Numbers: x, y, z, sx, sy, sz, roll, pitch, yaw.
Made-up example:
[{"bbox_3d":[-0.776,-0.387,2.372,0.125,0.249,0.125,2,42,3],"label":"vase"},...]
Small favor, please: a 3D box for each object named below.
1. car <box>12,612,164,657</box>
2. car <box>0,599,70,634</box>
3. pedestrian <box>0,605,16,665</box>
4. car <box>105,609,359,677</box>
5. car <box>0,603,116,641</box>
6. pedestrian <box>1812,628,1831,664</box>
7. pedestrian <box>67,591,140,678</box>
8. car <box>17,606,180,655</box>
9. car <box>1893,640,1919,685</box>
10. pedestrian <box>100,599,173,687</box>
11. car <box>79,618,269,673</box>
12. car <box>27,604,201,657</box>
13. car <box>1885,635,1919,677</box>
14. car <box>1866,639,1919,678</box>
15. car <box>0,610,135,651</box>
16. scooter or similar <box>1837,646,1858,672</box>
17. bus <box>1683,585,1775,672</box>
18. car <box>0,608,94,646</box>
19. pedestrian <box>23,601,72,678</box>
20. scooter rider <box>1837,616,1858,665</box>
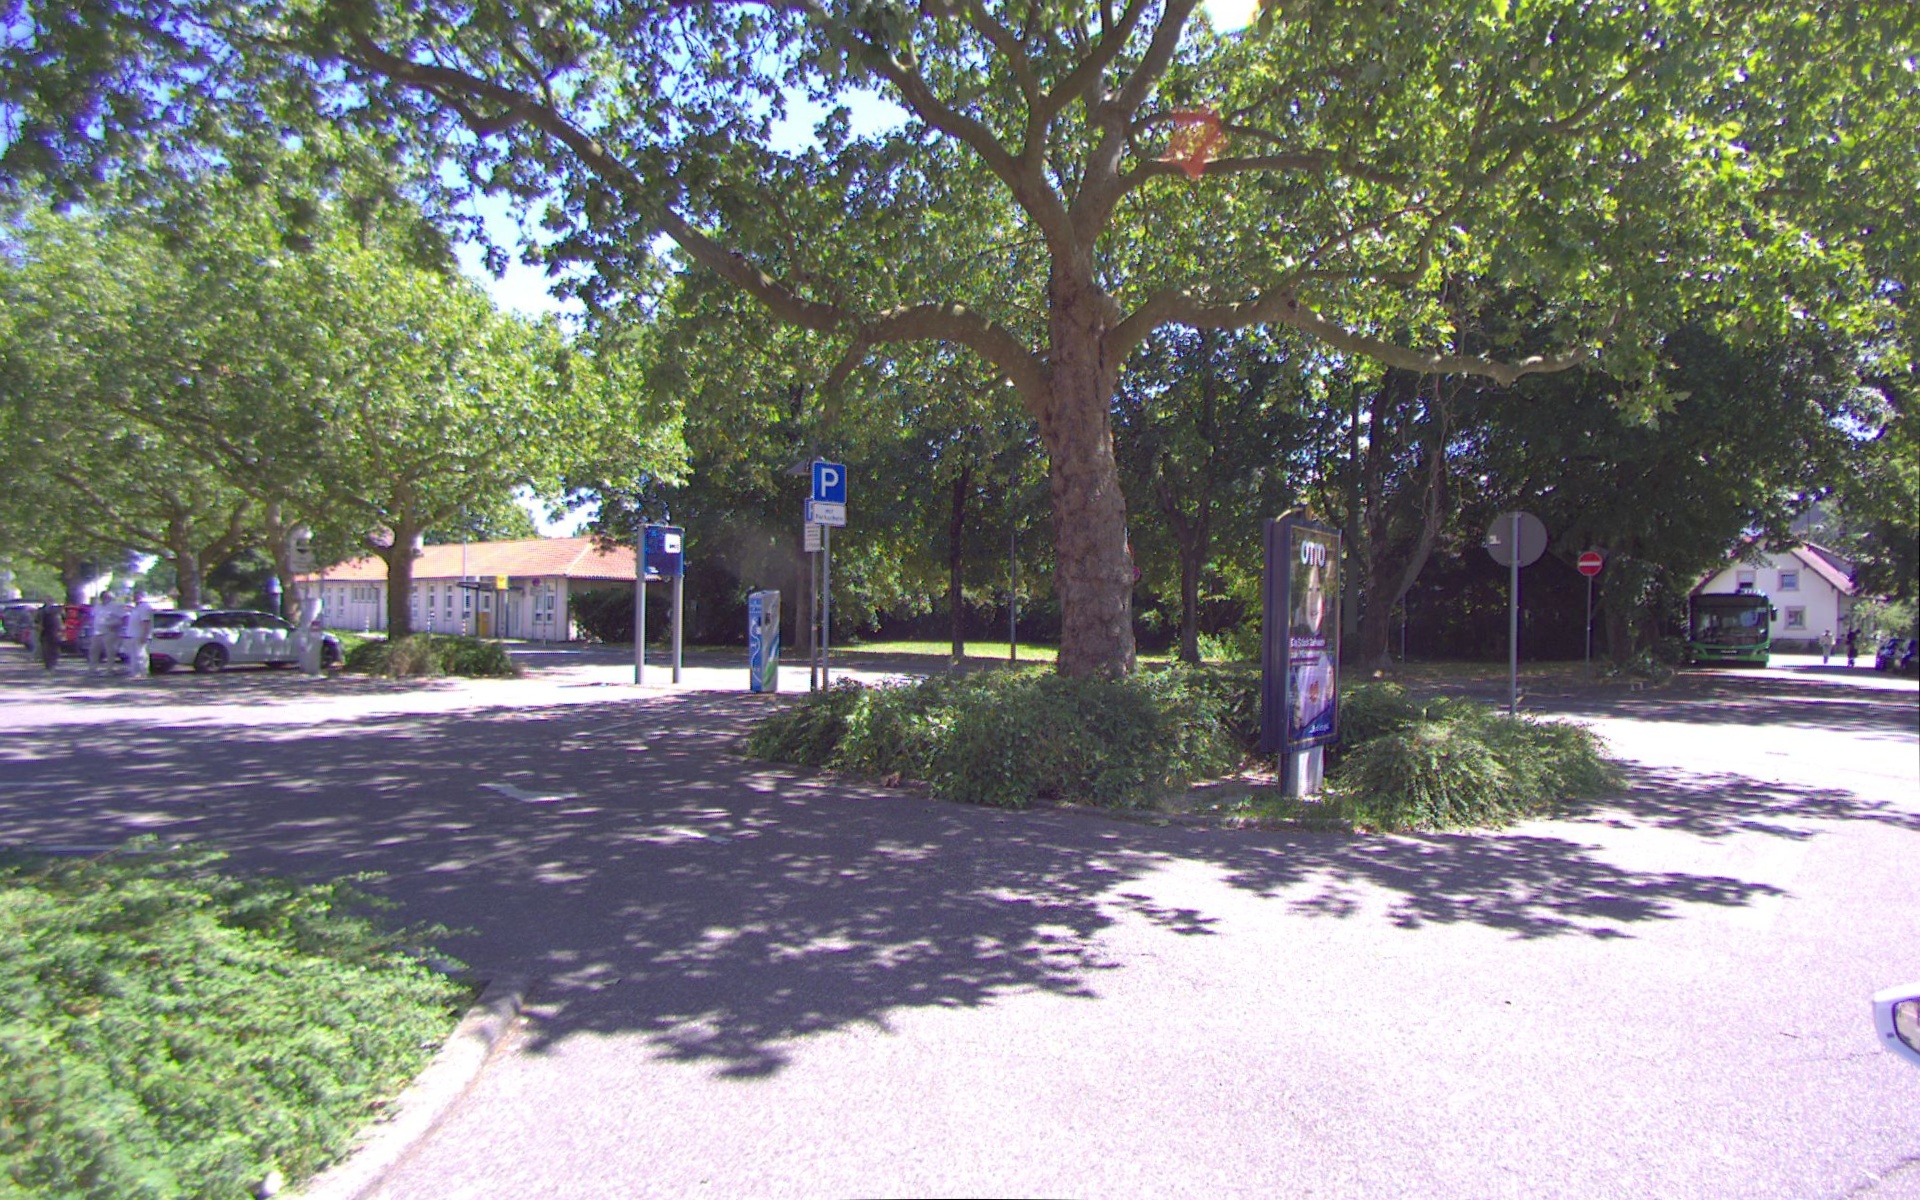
[{"bbox_3d":[-30.436,1.183,35.214,1.603,1.479,3.879,1,-1,10],"label":"car"},{"bbox_3d":[-40.953,0.693,43.153,1.603,1.479,3.879,1,-1,10],"label":"car"},{"bbox_3d":[-23.666,0.846,24.482,0.681,1.443,0.797,1,-1,-23],"label":"pedestrian"},{"bbox_3d":[-17.146,0.960,23.999,1.751,1.435,4.779,1,-1,19],"label":"car"},{"bbox_3d":[-36.975,0.887,40.864,1.603,1.479,3.879,1,-1,10],"label":"car"},{"bbox_3d":[44.259,2.362,51.588,0.712,1.826,0.935,0,-1,44],"label":"pedestrian"},{"bbox_3d":[-18.164,0.720,21.319,0.835,1.794,0.839,1,-1,19],"label":"pedestrian"},{"bbox_3d":[-27.989,0.962,32.791,1.603,1.479,3.879,1,-1,10],"label":"car"},{"bbox_3d":[33.818,2.149,34.818,1.728,1.458,4.751,0,-1,38],"label":"car"},{"bbox_3d":[-17.201,0.880,20.992,0.835,1.794,0.839,1,-1,18],"label":"pedestrian"},{"bbox_3d":[-21.969,1.223,28.292,1.840,1.424,4.030,1,-1,9],"label":"car"},{"bbox_3d":[-25.375,0.890,30.319,1.603,1.479,3.879,1,-1,10],"label":"car"},{"bbox_3d":[36.863,2.120,38.446,1.732,1.513,4.358,0,-1,37],"label":"car"},{"bbox_3d":[39.131,2.402,41.855,1.732,1.513,3.902,0,-1,37],"label":"car"},{"bbox_3d":[-34.650,1.170,39.023,1.603,1.479,3.879,1,-1,10],"label":"car"},{"bbox_3d":[43.192,2.861,48.892,0.729,1.199,1.512,0,-1,39],"label":"scooter or similar"},{"bbox_3d":[34.927,1.262,45.638,2.832,3.338,15.887,0,-1,38],"label":"bus"},{"bbox_3d":[-38.932,1.110,42.083,1.603,1.479,3.879,1,-1,10],"label":"car"},{"bbox_3d":[-18.942,0.814,20.858,0.600,1.568,0.588,0,-2,34],"label":"pedestrian"},{"bbox_3d":[43.211,1.963,48.906,0.730,2.348,0.923,0,-1,39],"label":"scooter rider"}]
